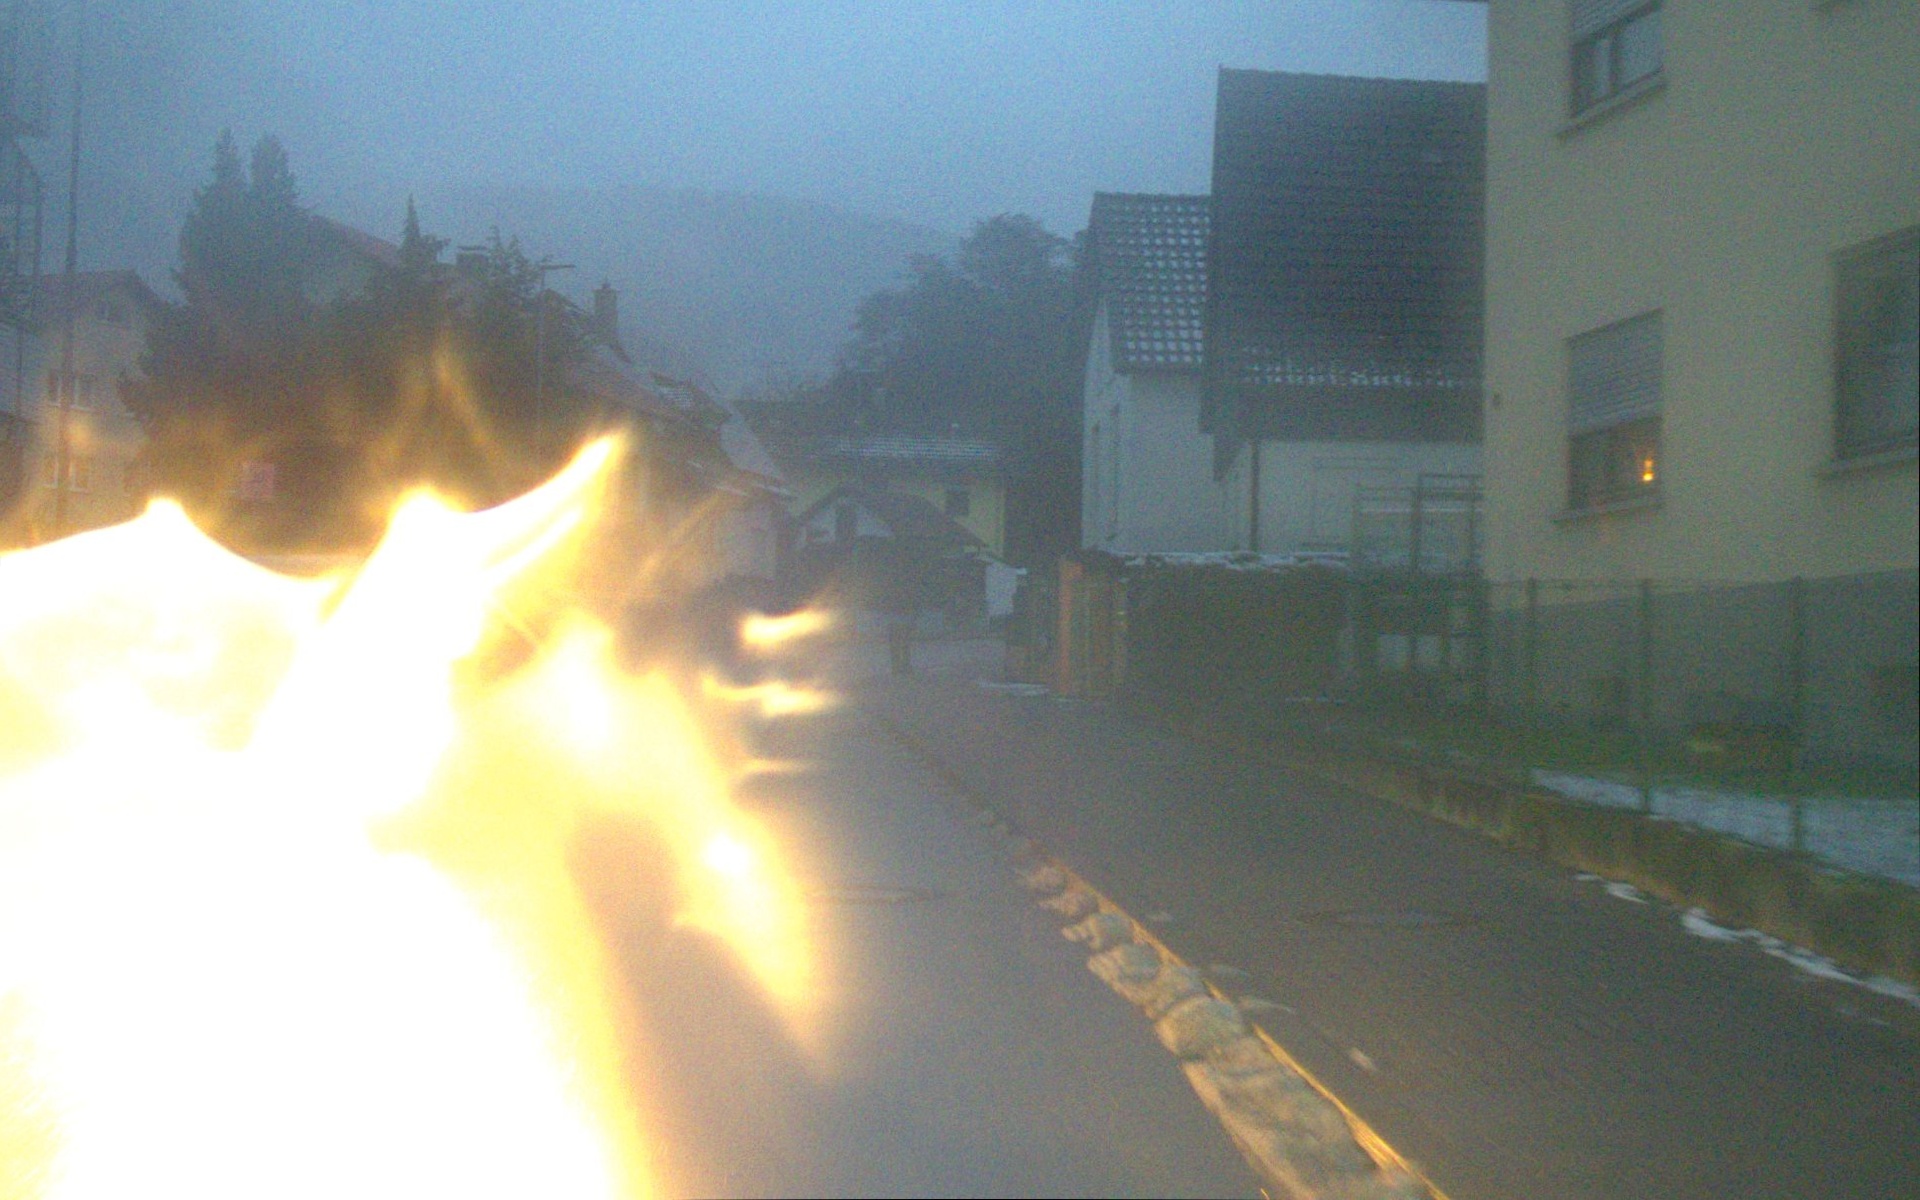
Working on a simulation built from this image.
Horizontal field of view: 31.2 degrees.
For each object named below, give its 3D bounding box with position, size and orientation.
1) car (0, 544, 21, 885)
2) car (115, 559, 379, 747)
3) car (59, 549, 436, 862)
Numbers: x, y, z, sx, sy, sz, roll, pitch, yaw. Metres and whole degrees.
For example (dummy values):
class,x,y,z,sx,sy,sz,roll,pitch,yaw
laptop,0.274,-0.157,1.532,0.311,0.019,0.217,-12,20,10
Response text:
class,x,y,z,sx,sy,sz,roll,pitch,yaw
car,-4.754,0.499,12.618,1.733,1.439,4.440,1,1,-5
car,-5.948,0.406,29.024,1.664,1.413,3.691,3,0,-4
car,-3.855,0.471,18.689,1.773,1.490,4.381,0,1,-12
